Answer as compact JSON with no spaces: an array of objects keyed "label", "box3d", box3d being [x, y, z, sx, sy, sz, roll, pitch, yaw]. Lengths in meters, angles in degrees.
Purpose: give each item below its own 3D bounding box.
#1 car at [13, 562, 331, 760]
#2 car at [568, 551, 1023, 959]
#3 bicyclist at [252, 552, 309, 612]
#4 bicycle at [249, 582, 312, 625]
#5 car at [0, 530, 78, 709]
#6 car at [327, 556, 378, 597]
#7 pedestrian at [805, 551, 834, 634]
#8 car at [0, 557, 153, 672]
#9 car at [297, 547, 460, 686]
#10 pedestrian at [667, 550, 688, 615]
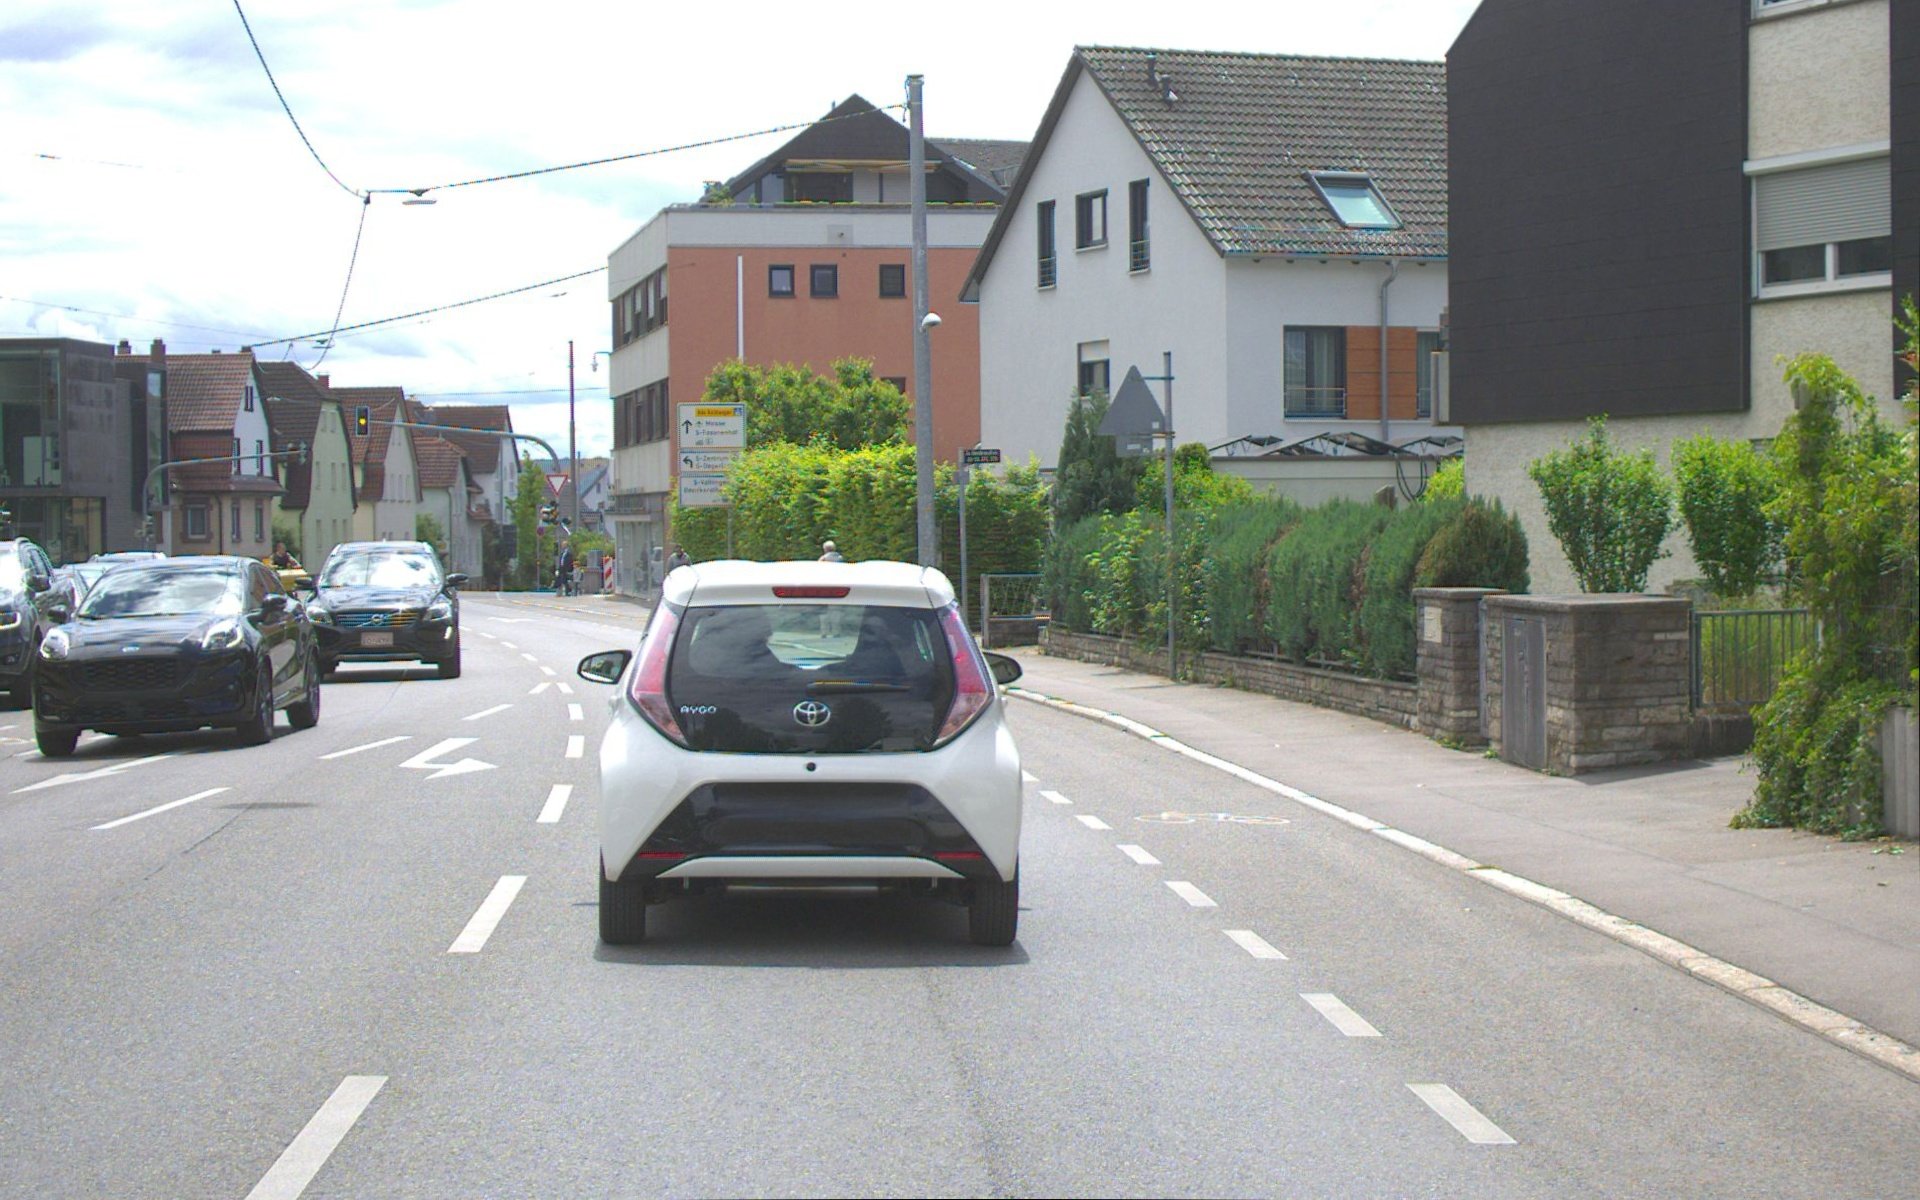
[{"label":"car","box3d":[-6.355,0.441,28.148,1.775,1.425,4.009,-2,1,-2]},{"label":"car","box3d":[-0.822,0.551,14.558,1.620,1.481,4.001,0,0,-7]},{"label":"bicyclist","box3d":[-15.861,-0.412,80.193,1.114,1.332,1.633,-3,1,-16]},{"label":"bicycle","box3d":[-15.896,0.079,80.377,1.114,0.933,3.789,-3,1,-16]},{"label":"car","box3d":[-10.805,0.214,37.493,1.774,1.840,4.009,-2,1,-8]},{"label":"car","box3d":[-25.984,-1.032,147.070,1.993,1.678,4.001,1,1,-8]},{"label":"pedestrian","box3d":[-2.433,-0.130,59.425,0.413,1.433,0.438,0,1,-13]},{"label":"car","box3d":[-12.654,0.177,48.881,1.794,1.505,4.001,2,1,-6]},{"label":"car","box3d":[-7.148,0.171,42.554,1.774,1.547,4.009,-3,1,-8]},{"label":"pedestrian","box3d":[-6.229,-0.382,75.754,0.413,1.433,0.438,0,1,-9]}]
